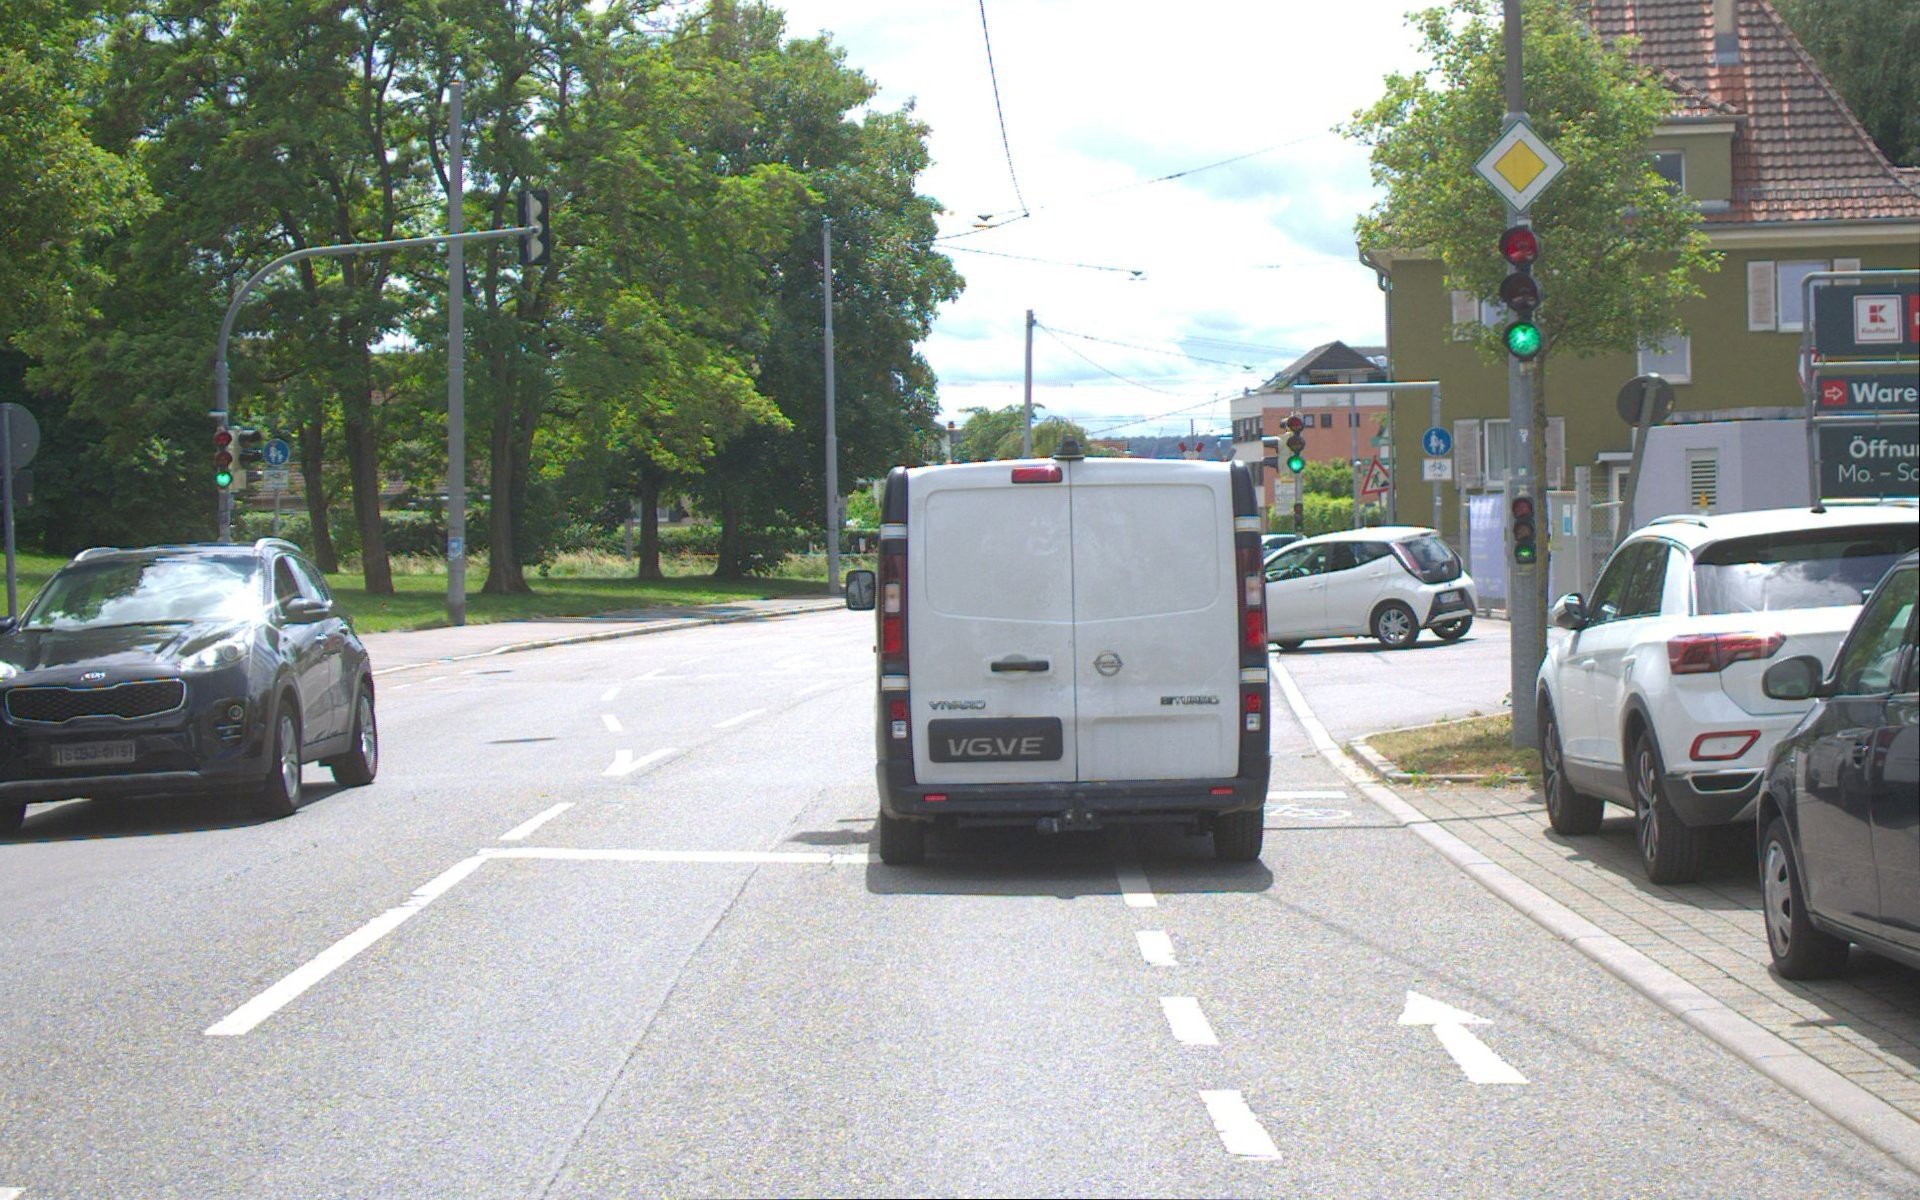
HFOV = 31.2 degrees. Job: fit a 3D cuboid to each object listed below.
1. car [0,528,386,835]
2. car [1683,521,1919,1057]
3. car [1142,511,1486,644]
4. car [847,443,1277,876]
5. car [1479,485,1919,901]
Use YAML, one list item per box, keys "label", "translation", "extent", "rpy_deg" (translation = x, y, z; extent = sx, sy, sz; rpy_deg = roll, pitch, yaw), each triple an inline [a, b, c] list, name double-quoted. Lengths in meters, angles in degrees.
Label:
- label: "car"
  translation: [-4.779, 0.422, 20.907]
  extent: [1.833, 1.611, 4.152]
  rpy_deg: [-3, 1, 0]
- label: "car"
  translation: [3.435, 0.489, 10.445]
  extent: [1.568, 1.488, 4.000]
  rpy_deg: [-2, 1, 0]
- label: "car"
  translation: [4.432, -0.293, 43.169]
  extent: [3.994, 1.601, 1.606]
  rpy_deg: [0, 1, 31]
- label: "car"
  translation: [0.440, 0.232, 18.049]
  extent: [1.938, 1.954, 4.833]
  rpy_deg: [0, 1, -1]
- label: "car"
  translation: [3.687, 0.327, 16.068]
  extent: [1.737, 1.611, 4.387]
  rpy_deg: [-4, 1, 0]
